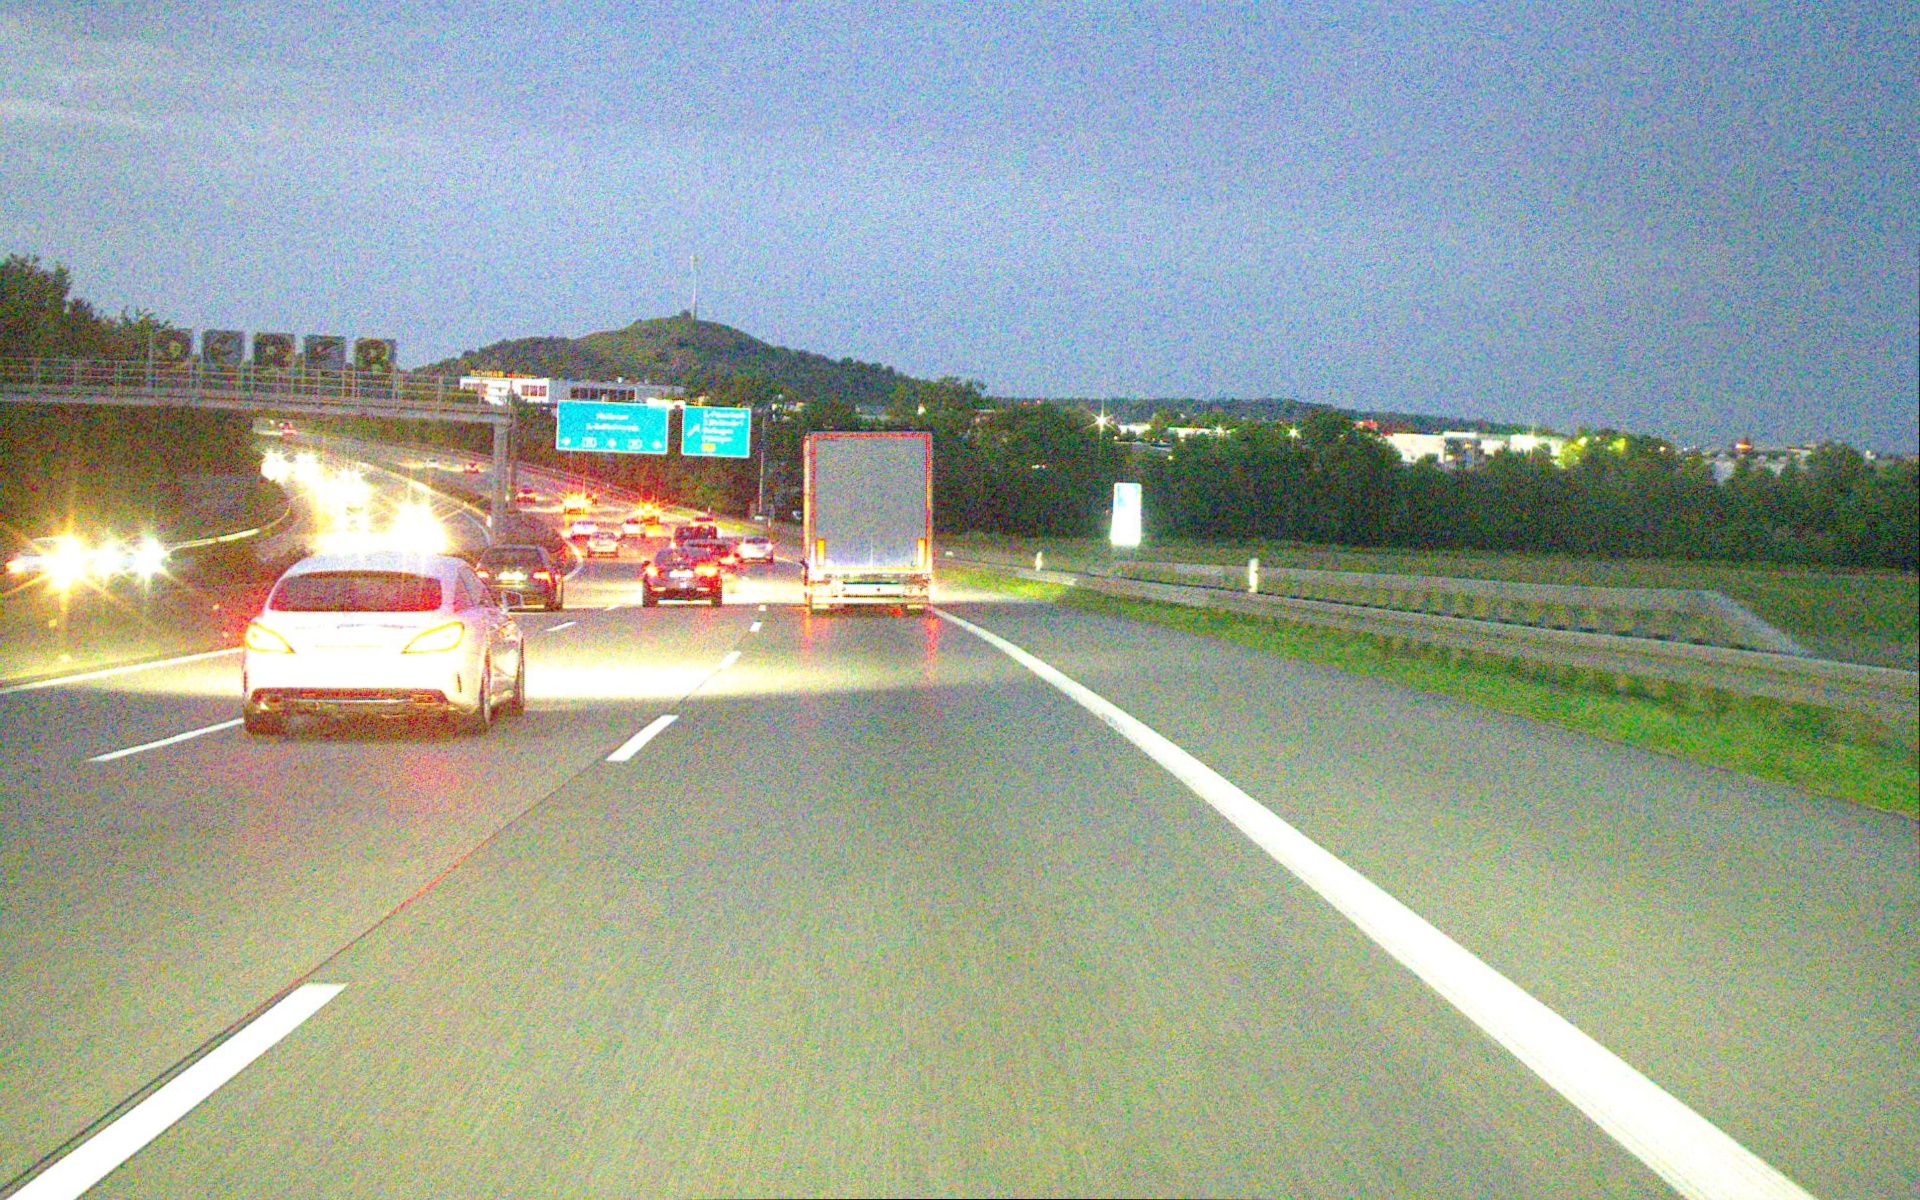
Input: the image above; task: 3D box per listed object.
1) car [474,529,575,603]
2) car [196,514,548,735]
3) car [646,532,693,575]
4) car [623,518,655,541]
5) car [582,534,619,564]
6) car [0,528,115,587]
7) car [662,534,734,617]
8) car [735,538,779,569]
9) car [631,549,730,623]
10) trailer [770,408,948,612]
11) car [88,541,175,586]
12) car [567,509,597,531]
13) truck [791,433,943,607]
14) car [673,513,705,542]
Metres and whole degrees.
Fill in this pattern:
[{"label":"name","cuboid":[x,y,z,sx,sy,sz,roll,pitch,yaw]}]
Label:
[{"label":"car","cuboid":[-9.680,-0.760,76.679,1.761,1.569,4.577,1,1,-1]},{"label":"car","cuboid":[-4.672,0.153,28.027,1.906,1.609,4.803,1,1,1]},{"label":"car","cuboid":[-13.979,-2.249,165.106,1.993,2.007,4.001,1,1,-8]},{"label":"car","cuboid":[-23.292,-5.141,249.445,1.993,1.616,4.001,1,1,-10]},{"label":"car","cuboid":[-19.876,-2.820,190.102,1.993,1.616,4.001,1,1,-6]},{"label":"car","cuboid":[-24.115,-1.132,92.016,1.993,1.500,4.506,1,1,-2]},{"label":"car","cuboid":[-7.738,-0.750,101.718,1.993,2.372,4.001,1,1,-3]},{"label":"car","cuboid":[-10.389,-2.387,175.414,1.993,1.529,4.001,1,1,-6]},{"label":"car","cuboid":[-6.664,-0.357,82.305,2.065,1.680,4.577,1,1,-1]},{"label":"trailer","cuboid":[-2.187,-1.887,77.377,3.550,4.102,15.064,1,0,-1]},{"label":"car","cuboid":[-29.069,-1.288,120.742,1.993,1.528,5.007,1,1,-2]},{"label":"car","cuboid":[-26.760,-5.663,243.313,1.993,1.463,4.001,1,1,-8]},{"label":"truck","cuboid":[-2.255,-1.914,84.466,3.550,4.077,6.152,1,0,-1]},{"label":"car","cuboid":[-19.391,-5.178,245.750,1.993,1.971,4.001,1,1,-8]}]
